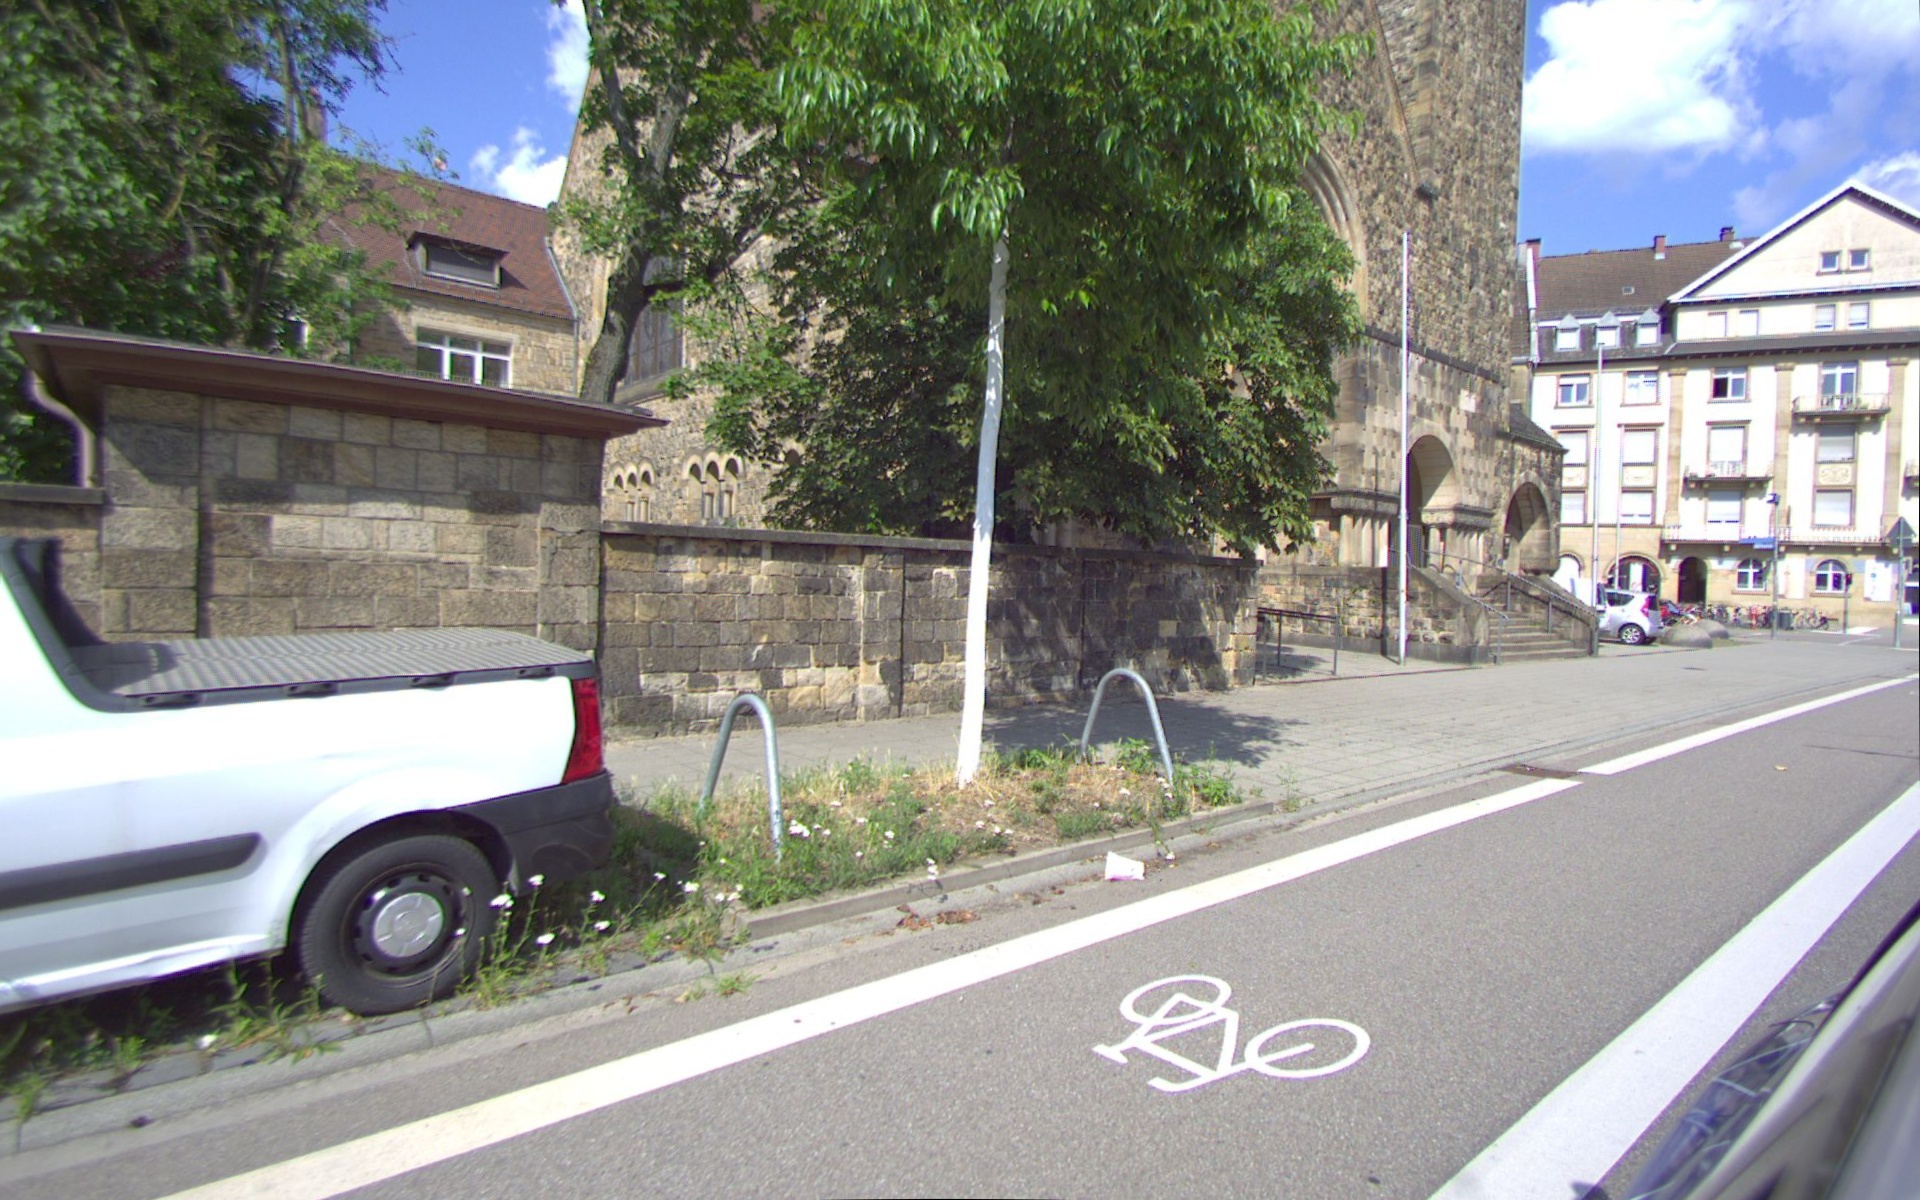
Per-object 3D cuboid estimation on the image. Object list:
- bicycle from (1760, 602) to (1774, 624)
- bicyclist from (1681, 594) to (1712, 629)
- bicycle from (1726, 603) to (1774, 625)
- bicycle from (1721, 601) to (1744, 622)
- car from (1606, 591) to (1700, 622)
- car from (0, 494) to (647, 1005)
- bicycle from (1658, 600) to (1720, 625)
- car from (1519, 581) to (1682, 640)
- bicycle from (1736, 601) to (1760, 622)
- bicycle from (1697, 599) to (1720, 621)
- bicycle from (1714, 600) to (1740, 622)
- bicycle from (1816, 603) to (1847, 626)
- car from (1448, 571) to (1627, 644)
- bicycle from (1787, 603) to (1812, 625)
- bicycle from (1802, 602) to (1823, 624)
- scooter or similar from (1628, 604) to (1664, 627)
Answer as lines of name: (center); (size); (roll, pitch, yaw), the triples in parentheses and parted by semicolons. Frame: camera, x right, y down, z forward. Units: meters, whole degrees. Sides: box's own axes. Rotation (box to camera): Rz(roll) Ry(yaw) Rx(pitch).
bicycle: (42.661, 0.699, 53.484); (0.537, 1.030, 1.902); (3, 4, 38)
bicyclist: (32.869, 0.521, 45.182); (0.911, 1.523, 0.648); (2, -1, 21)
bicycle: (41.072, 0.732, 52.623); (1.897, 1.030, 0.539); (1, 3, 9)
bicycle: (42.048, 0.615, 55.113); (0.534, 1.030, 1.914); (2, 4, 24)
car: (37.974, 0.325, 55.575); (1.927, 1.458, 4.010); (0, 3, -12)
car: (-3.216, 0.414, 3.503); (3.768, 1.434, 1.675); (1, -1, -32)
bicycle: (32.597, 0.547, 45.284); (2.109, 1.001, 0.648); (2, 1, 21)
car: (19.130, 0.286, 30.340); (1.766, 1.566, 3.773); (1, 1, -41)
bicycle: (42.678, 0.614, 54.843); (0.534, 1.030, 1.914); (2, 4, 24)
bicycle: (40.902, 0.548, 55.323); (0.534, 1.030, 1.914); (2, 4, 24)
bicycle: (41.097, 0.581, 54.252); (0.533, 1.030, 1.917); (2, 4, 20)
bicycle: (45.776, 0.754, 53.165); (0.603, 1.030, 1.864); (2, 3, 21)
car: (16.283, 0.167, 28.650); (1.832, 1.846, 4.008); (1, 1, -42)
bicycle: (43.740, 0.737, 52.715); (1.843, 1.031, 0.602); (-2, 4, -39)
bicycle: (45.105, 0.700, 53.566); (0.606, 1.031, 1.855); (3, 4, 33)
scooter or similar: (30.928, 0.688, 45.631); (1.117, 0.989, 0.884); (2, 1, 21)
